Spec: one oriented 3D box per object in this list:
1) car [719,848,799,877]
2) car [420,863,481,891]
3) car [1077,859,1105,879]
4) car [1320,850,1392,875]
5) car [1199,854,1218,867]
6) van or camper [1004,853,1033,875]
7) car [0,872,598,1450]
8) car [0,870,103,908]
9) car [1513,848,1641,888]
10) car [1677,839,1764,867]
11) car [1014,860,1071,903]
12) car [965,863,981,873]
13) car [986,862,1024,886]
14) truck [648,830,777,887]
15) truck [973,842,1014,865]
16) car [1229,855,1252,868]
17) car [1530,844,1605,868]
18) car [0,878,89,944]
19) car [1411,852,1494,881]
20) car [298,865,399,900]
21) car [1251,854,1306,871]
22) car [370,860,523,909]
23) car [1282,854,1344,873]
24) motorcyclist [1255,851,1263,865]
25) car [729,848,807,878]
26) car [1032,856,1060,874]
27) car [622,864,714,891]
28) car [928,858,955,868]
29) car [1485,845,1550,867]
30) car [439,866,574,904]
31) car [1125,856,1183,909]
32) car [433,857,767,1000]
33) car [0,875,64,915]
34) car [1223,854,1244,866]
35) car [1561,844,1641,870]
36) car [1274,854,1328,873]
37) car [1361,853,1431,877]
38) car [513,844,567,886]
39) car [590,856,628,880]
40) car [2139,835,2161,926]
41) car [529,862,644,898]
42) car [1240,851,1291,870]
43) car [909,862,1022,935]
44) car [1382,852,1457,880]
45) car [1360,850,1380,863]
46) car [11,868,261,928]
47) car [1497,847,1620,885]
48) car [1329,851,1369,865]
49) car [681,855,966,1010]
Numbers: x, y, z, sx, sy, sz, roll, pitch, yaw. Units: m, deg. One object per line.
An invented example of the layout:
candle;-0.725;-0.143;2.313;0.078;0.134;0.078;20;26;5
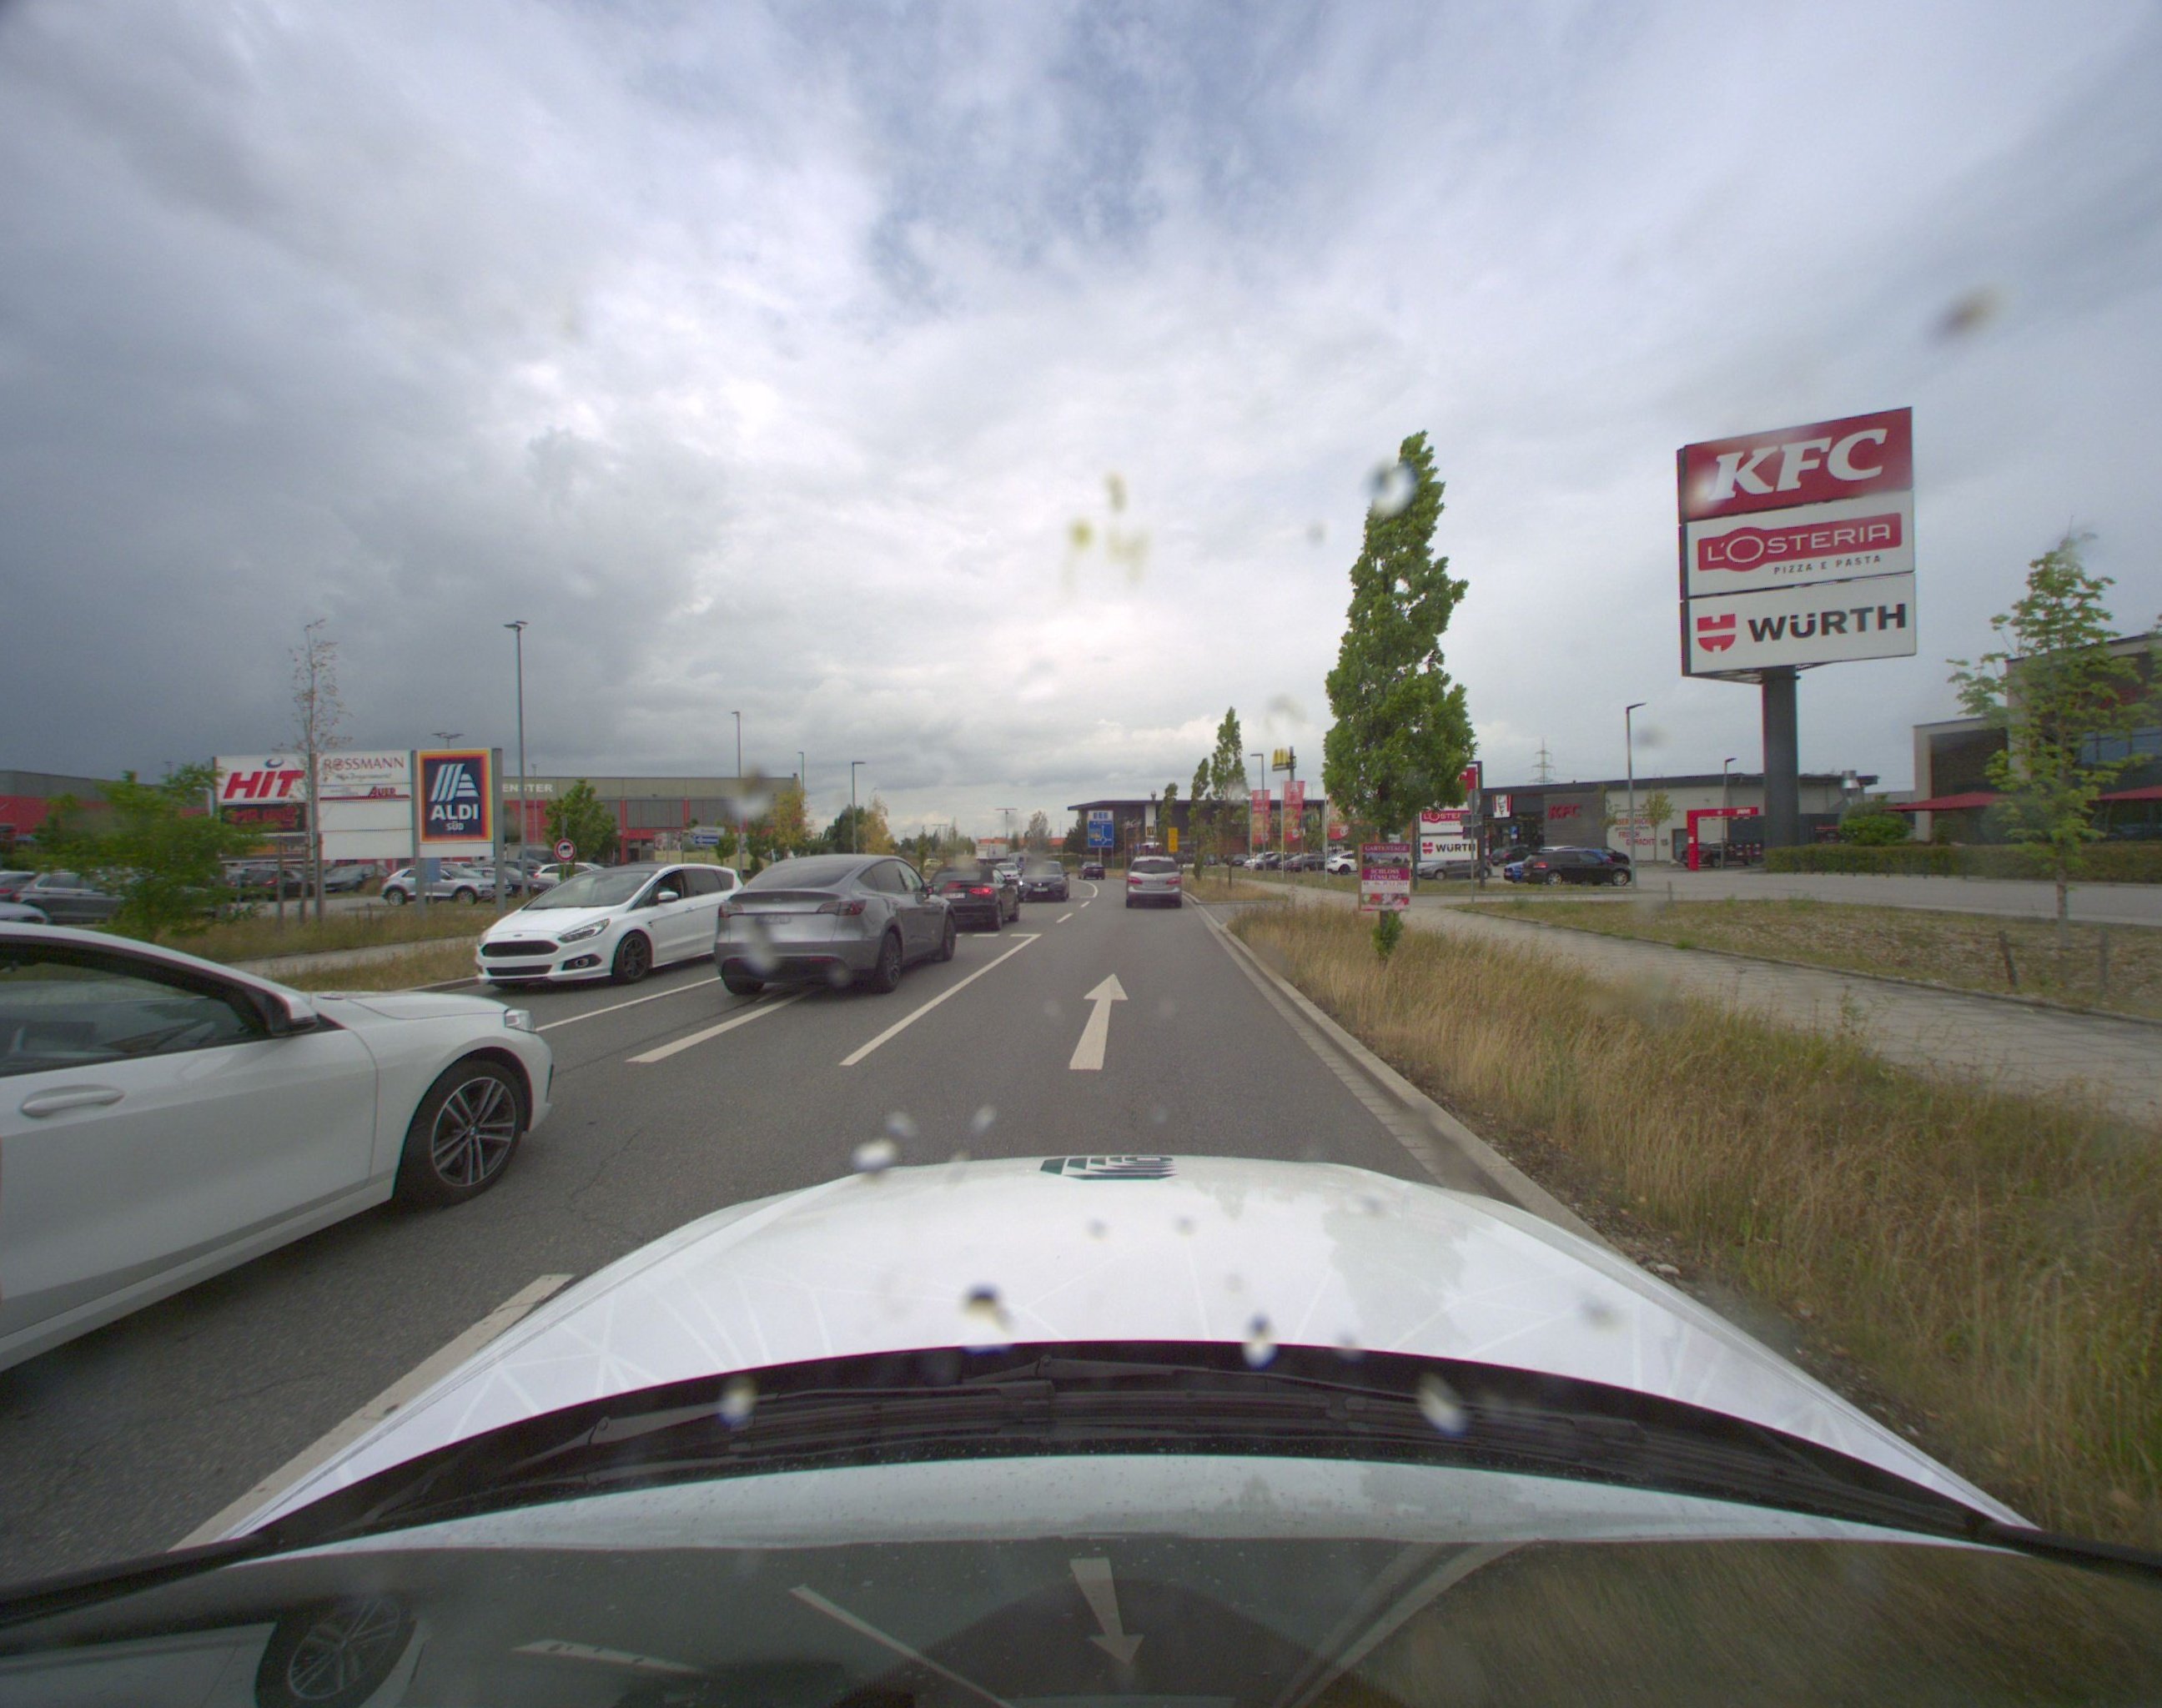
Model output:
car;-27.359;0.694;69.414;6.083;2.307;2.197;-1;-1;-17
car;-41.743;1.479;54.000;2.000;1.729;3.974;-1;0;-19
car;0.761;1.110;62.362;1.841;1.418;4.220;-1;0;-3
car;20.311;0.621;60.203;4.558;1.645;2.083;-3;0;-8
car;17.492;0.834;111.571;1.977;1.717;4.019;-1;0;18
van or camper;-7.429;1.192;96.442;2.309;2.506;5.173;0;0;-18
car;-3.735;0.836;2.455;1.872;1.468;4.196;-1;-1;3
car;-49.779;1.650;38.964;2.000;1.607;3.974;-1;0;-19
car;20.104;0.543;33.151;3.968;1.494;1.984;-1;0;4
car;38.478;-0.050;49.026;4.575;1.519;1.885;-2;0;-19
car;-1.336;0.966;30.049;1.823;1.420;4.246;-1;0;1
car;-16.335;2.110;123.414;1.996;1.515;3.981;-1;0;-14
car;-4.975;1.283;54.056;1.829;1.417;4.502;-2;0;3
truck;-24.898;0.298;55.634;2.825;3.541;8.473;-1;0;21
truck;-15.492;-0.114;144.804;3.106;3.907;9.385;-2;0;22
car;17.373;0.787;88.683;1.796;1.313;3.869;-1;0;20
car;34.782;0.135;58.281;4.572;1.519;2.069;-2;0;-17
car;-25.085;1.281;17.768;4.299;1.340;2.027;-1;0;0
car;20.721;0.680;45.501;3.746;1.494;1.889;-1;0;0
car;-38.312;1.452;42.787;2.000;1.607;5.239;-1;0;-19
car;18.141;0.771;74.974;4.476;1.436;2.063;-1;0;-16
car;-24.355;1.143;31.374;4.230;1.723;2.027;-1;-1;-2
car;19.082;0.762;67.124;4.521;1.469;2.024;-1;0;-12
motorcyclist;24.769;0.563;113.281;0.953;1.832;0.849;-1;-1;19
car;-28.465;0.795;74.294;6.421;2.598;2.231;-1;-1;-16
car;-3.747;1.149;86.556;2.061;1.826;4.763;-1;-1;-14
car;-23.735;1.337;46.911;4.222;1.435;1.996;-1;0;-3
car;-22.777;1.542;133.144;4.006;1.515;1.984;-1;0;-24
car;34.125;0.180;63.658;4.377;1.519;2.035;-2;0;-19
car;-23.924;1.276;34.041;4.224;1.513;2.048;-1;0;3
car;2.337;0.858;26.330;1.722;1.600;3.811;0;0;4
car;-6.797;0.923;12.305;1.985;1.637;4.706;-3;0;3
car;-46.109;1.745;34.432;2.000;1.607;3.974;-1;0;-19
car;21.226;0.814;113.260;2.097;1.717;4.253;-1;0;22
car;33.816;0.192;52.961;4.575;1.519;1.965;-2;0;-19
car;18.921;0.788;70.095;4.089;1.438;1.934;-2;0;-14
car;21.331;0.731;55.240;3.979;1.485;1.938;-2;-1;-4
car;-36.812;0.714;55.545;2.067;2.690;5.107;-1;0;-22
car;-42.578;1.251;73.556;1.999;2.033;4.610;-1;0;-18
car;18.193;0.410;10.864;1.954;1.460;4.834;-1;0;2
car;-23.808;1.207;39.321;4.242;1.559;1.985;-1;0;-7
car;17.543;0.605;77.415;4.359;1.639;1.926;-1;0;-18
car;-2.502;0.939;18.641;1.762;1.438;4.234;-1;-1;3
car;20.868;0.742;50.315;3.851;1.481;1.901;-3;0;-2
car;33.698;0.294;94.920;1.932;1.443;4.242;-2;0;24
car;-25.108;1.146;21.767;4.337;1.391;2.168;-1;0;4
car;20.867;0.525;35.713;4.245;1.520;1.967;-1;0;2
car;34.105;0.466;103.684;4.677;1.656;2.011;-2;0;21
car;-3.014;0.823;10.766;1.985;1.561;4.618;-1;0;4
